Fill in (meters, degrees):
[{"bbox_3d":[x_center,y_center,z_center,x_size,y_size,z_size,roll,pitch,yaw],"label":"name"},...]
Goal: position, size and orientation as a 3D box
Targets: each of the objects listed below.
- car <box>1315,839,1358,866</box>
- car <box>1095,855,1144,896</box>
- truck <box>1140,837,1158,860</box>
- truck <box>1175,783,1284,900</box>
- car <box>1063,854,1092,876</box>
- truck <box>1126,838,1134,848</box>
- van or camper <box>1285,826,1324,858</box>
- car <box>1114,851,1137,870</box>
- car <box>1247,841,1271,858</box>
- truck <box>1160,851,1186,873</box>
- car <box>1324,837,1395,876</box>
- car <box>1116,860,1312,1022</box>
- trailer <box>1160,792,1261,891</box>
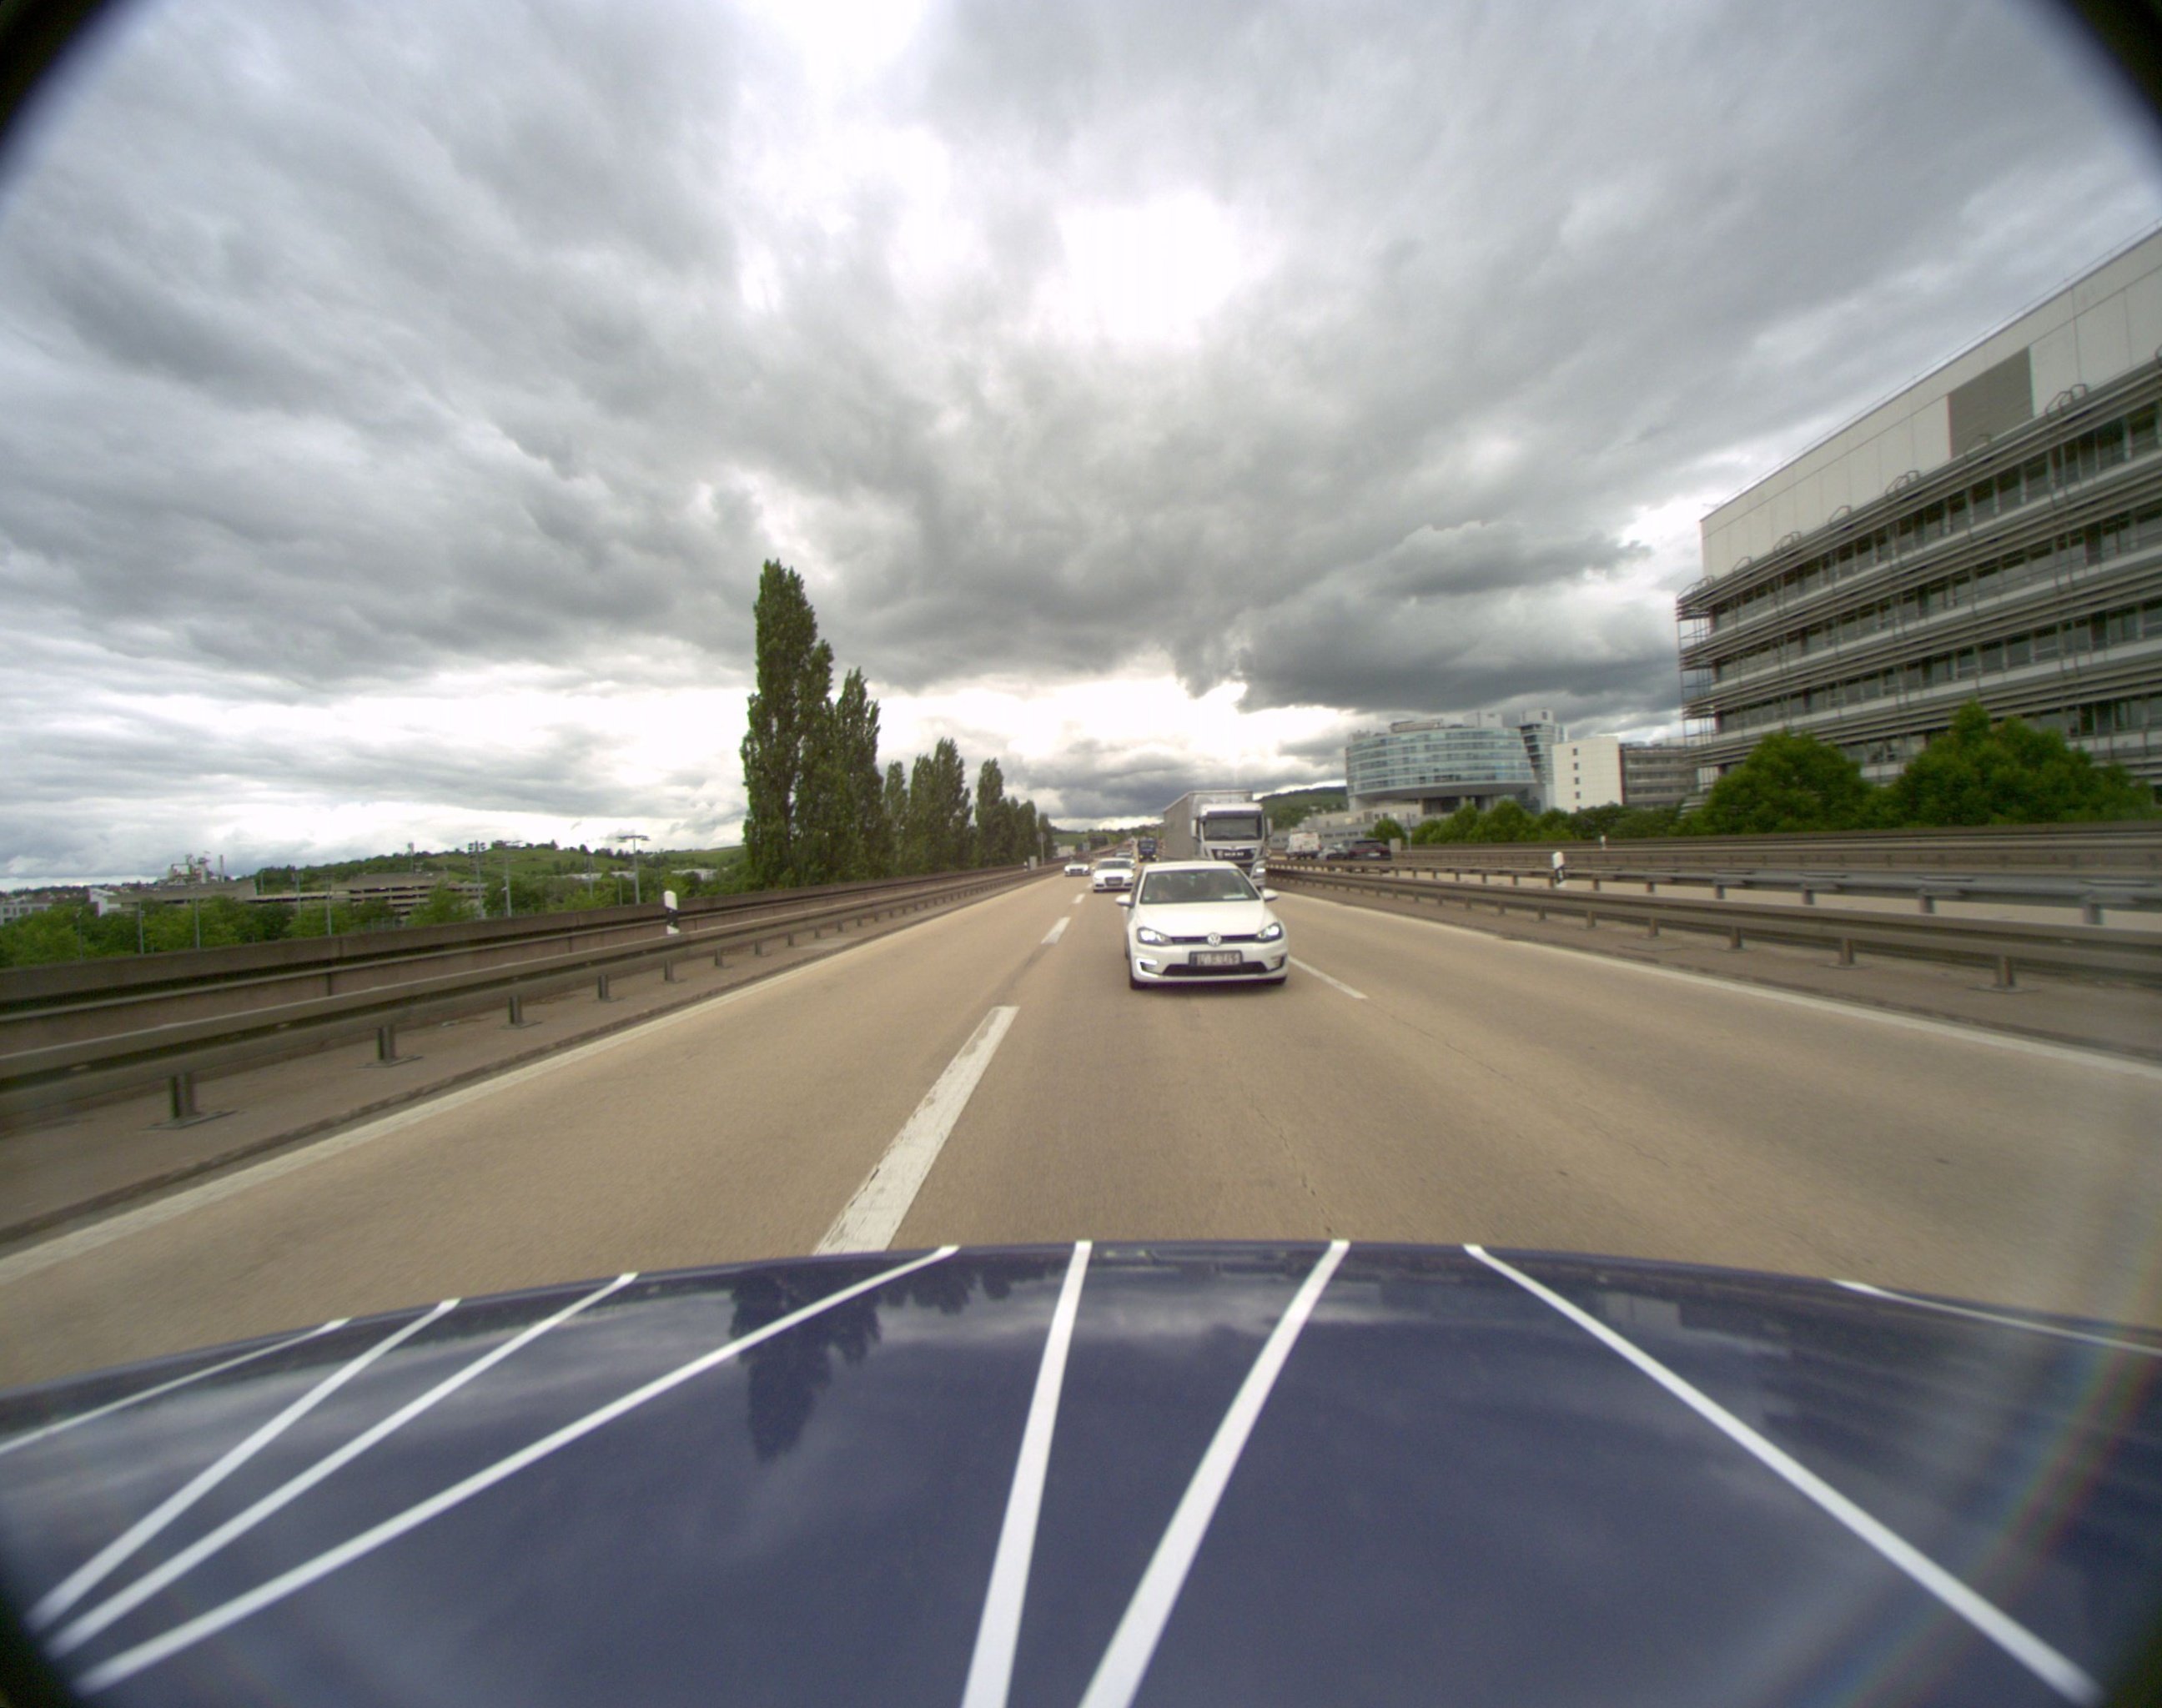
[{"bbox_3d":[17.564,-0.110,52.401,1.686,1.641,4.448,-3,1,5],"label":"car"},{"bbox_3d":[1.727,0.894,33.375,1.930,1.499,4.062,-3,1,4],"label":"car"},{"bbox_3d":[10.001,-0.810,112.111,2.336,3.219,6.687,-2,1,4],"label":"truck"},{"bbox_3d":[5.695,-0.493,30.219,3.142,4.014,5.688,-4,1,2],"label":"truck"},{"bbox_3d":[-0.223,0.846,60.135,1.930,1.499,4.062,-3,1,4],"label":"car"},{"bbox_3d":[15.889,-3.527,245.806,2.625,3.219,6.687,-2,1,4],"label":"truck"},{"bbox_3d":[22.785,-1.202,77.724,2.176,2.991,7.119,-2,0,4],"label":"van or camper"},{"bbox_3d":[4.103,0.583,69.607,1.930,1.585,4.062,-3,1,4],"label":"car"},{"bbox_3d":[19.294,-0.524,82.372,1.687,1.641,4.313,-3,1,3],"label":"car"},{"bbox_3d":[7.171,0.597,59.528,1.829,1.521,3.514,-2,1,4],"label":"truck"},{"bbox_3d":[13.345,0.075,36.661,1.766,1.641,4.334,-4,1,1],"label":"car"},{"bbox_3d":[1.475,0.912,9.748,1.930,1.499,4.062,-2,1,4],"label":"car"},{"bbox_3d":[6.097,-0.570,38.054,3.189,4.003,11.765,-4,0,2],"label":"trailer"}]
